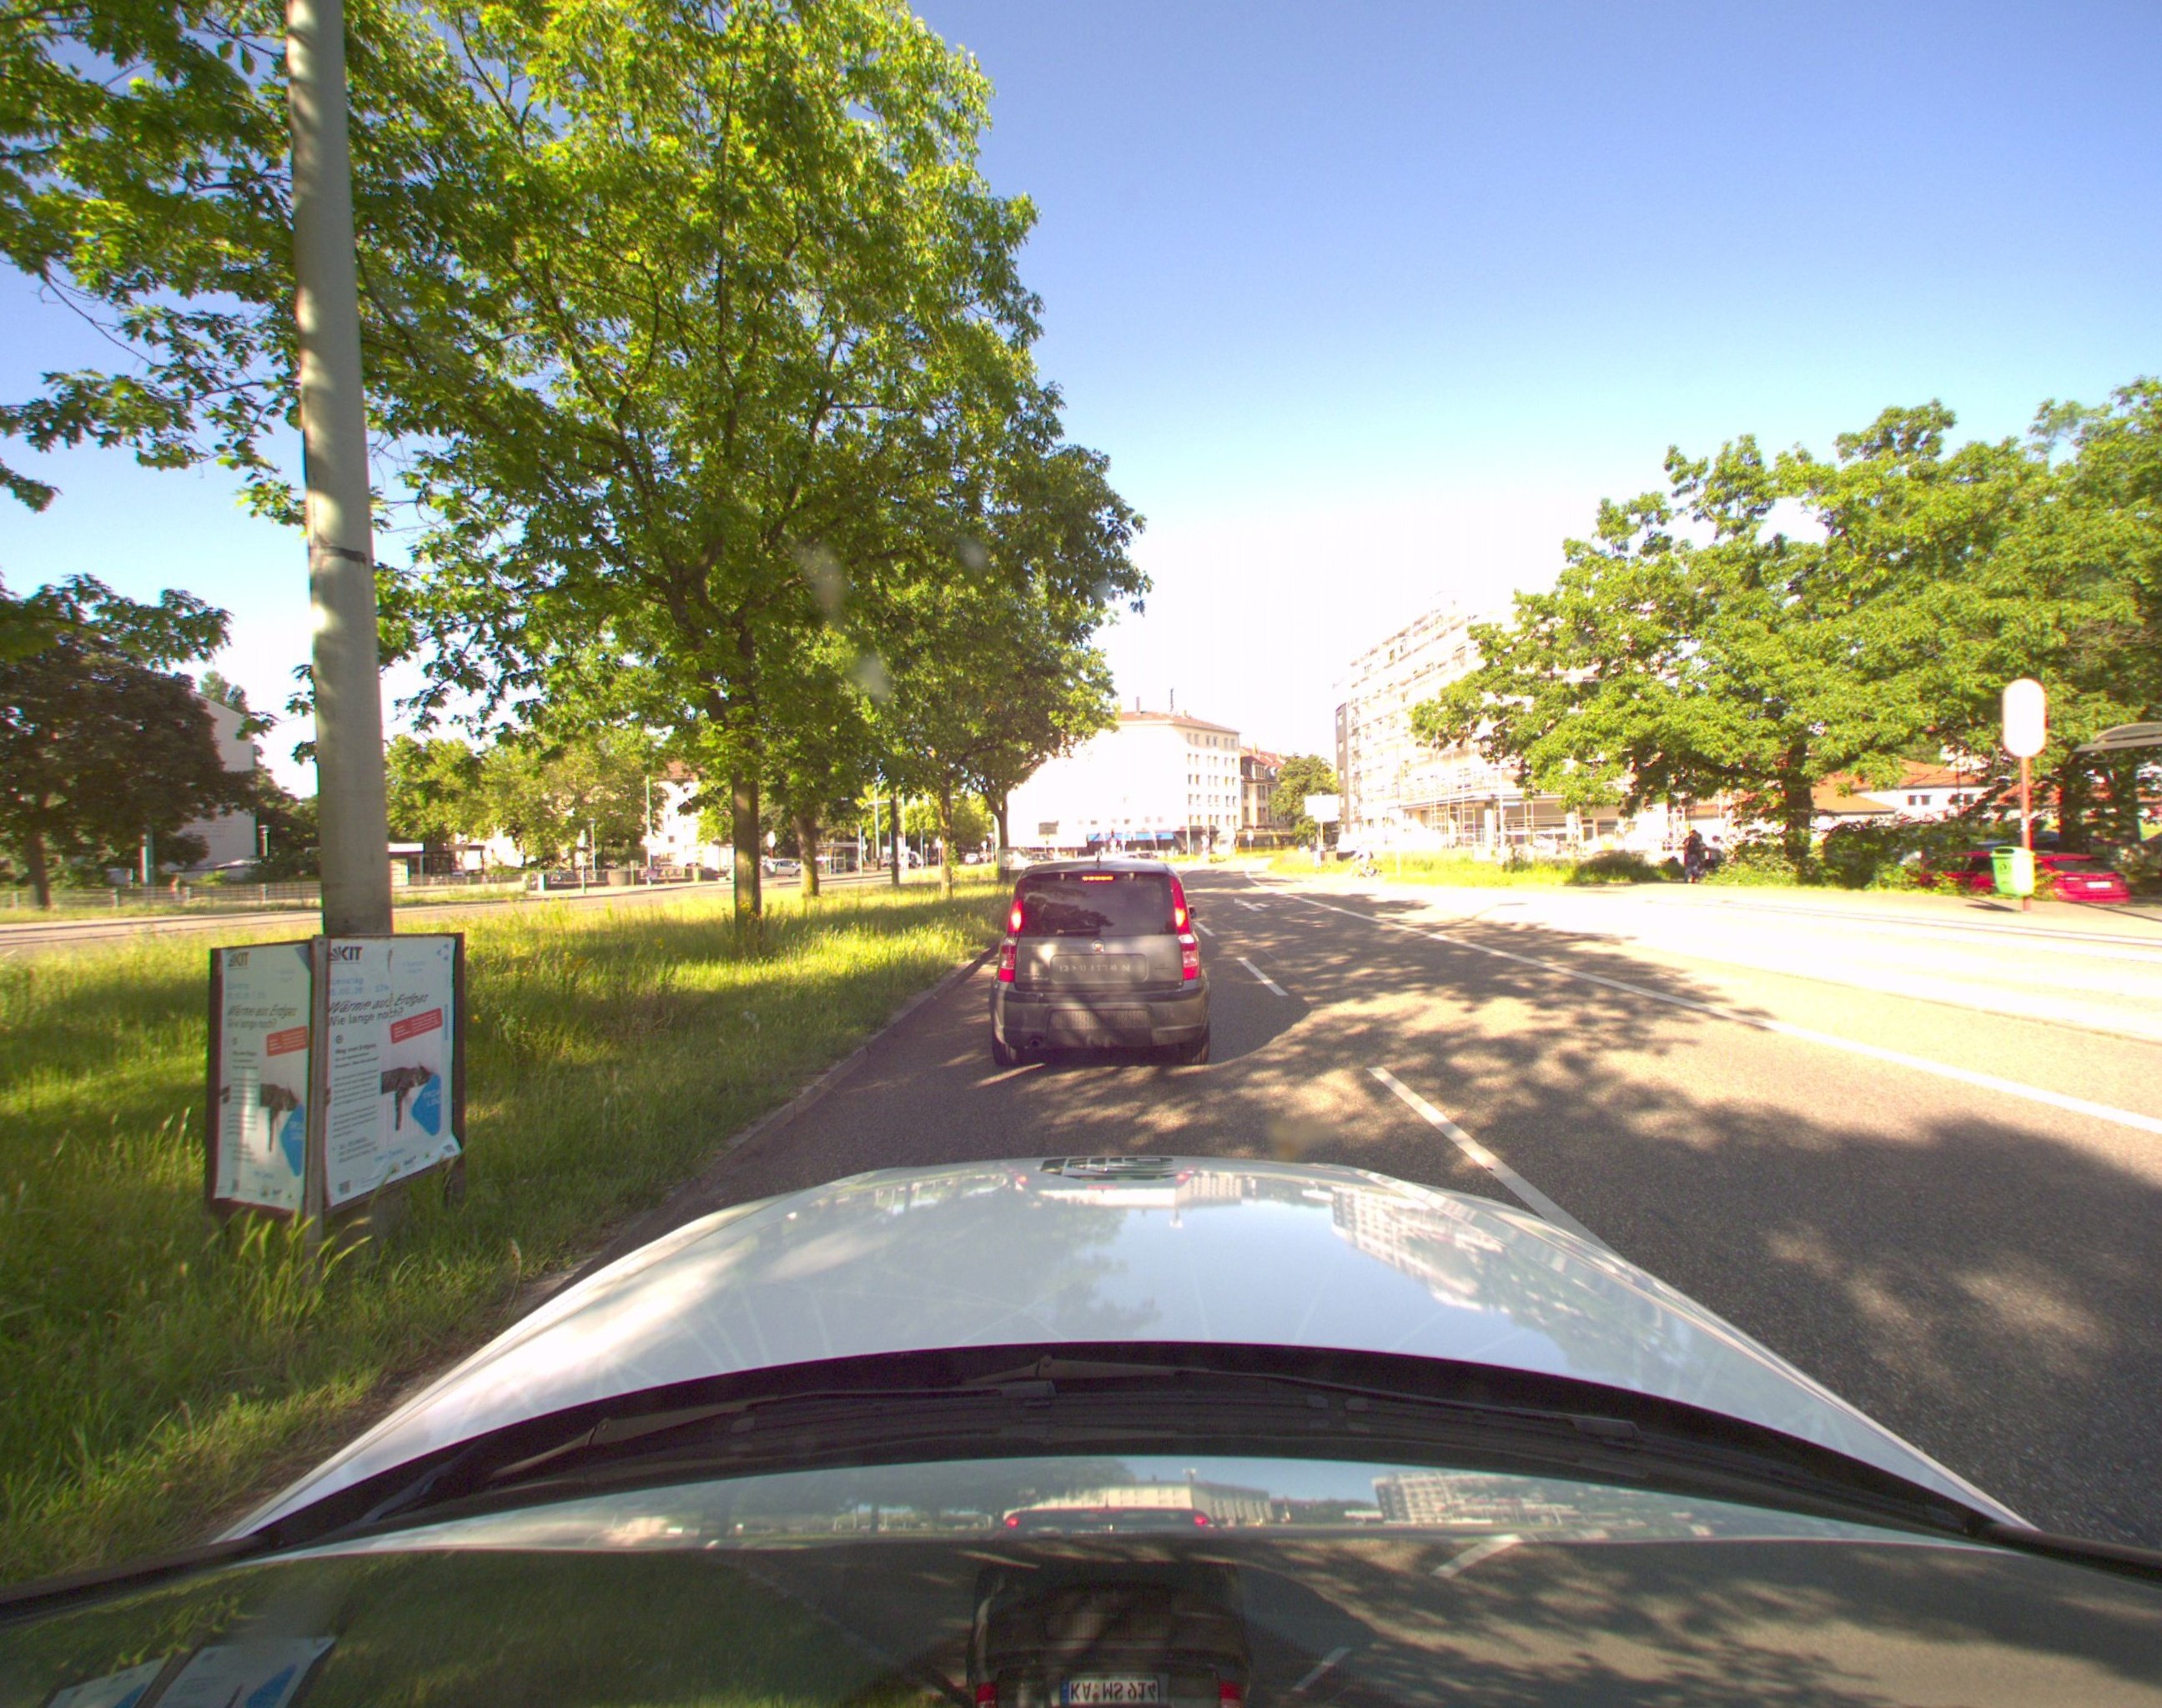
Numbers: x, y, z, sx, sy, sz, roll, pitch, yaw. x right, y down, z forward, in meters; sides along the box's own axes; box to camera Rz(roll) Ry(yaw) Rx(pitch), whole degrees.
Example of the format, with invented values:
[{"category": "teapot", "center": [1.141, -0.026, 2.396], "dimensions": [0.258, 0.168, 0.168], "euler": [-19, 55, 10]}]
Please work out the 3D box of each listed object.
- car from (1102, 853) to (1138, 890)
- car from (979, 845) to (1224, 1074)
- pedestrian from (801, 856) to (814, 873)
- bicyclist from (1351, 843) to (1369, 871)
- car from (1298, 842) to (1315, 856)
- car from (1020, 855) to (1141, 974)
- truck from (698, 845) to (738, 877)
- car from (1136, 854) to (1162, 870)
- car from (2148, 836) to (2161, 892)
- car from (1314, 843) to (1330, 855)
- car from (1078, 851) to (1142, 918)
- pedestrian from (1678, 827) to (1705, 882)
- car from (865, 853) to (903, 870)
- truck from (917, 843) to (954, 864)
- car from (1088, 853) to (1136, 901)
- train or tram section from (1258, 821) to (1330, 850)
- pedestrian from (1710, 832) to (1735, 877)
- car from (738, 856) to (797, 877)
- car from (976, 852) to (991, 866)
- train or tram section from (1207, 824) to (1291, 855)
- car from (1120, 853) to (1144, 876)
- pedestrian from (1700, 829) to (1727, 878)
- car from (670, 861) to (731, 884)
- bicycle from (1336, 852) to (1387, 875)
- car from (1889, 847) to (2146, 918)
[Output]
[{"category": "car", "center": [1.602, 0.693, 33.969], "dimensions": [1.351, 1.449, 3.267], "euler": [-2, 0, 2]}, {"category": "car", "center": [0.205, 0.704, 7.537], "dimensions": [1.622, 1.508, 4.002], "euler": [-2, 0, 2]}, {"category": "pedestrian", "center": [-26.308, 1.029, 78.458], "dimensions": [0.910, 1.607, 0.802], "euler": [-2, 0, 41]}, {"category": "bicyclist", "center": [14.523, 0.147, 42.343], "dimensions": [0.835, 1.438, 0.748], "euler": [-1, -1, 22]}, {"category": "car", "center": [24.916, -0.539, 89.999], "dimensions": [1.669, 1.449, 3.588], "euler": [-2, 0, 18]}, {"category": "car", "center": [0.049, 0.749, 11.765], "dimensions": [1.458, 1.401, 3.395], "euler": [-2, 0, 2]}, {"category": "truck", "center": [-33.075, 0.633, 74.206], "dimensions": [2.012, 2.805, 3.951], "euler": [-2, 0, -44]}, {"category": "car", "center": [4.866, 0.575, 57.718], "dimensions": [1.133, 1.064, 2.735], "euler": [-2, 0, 19]}, {"category": "car", "center": [29.862, 0.234, 20.180], "dimensions": [1.911, 1.486, 3.725], "euler": [-2, 0, -17]}, {"category": "car", "center": [27.627, -0.590, 93.428], "dimensions": [1.514, 1.314, 3.304], "euler": [-2, 0, 20]}, {"category": "car", "center": [0.725, 0.699, 20.796], "dimensions": [1.458, 1.508, 3.506], "euler": [-2, 0, 2]}, {"category": "pedestrian", "center": [18.511, 0.014, 24.695], "dimensions": [0.516, 1.612, 0.595], "euler": [-2, 0, 28]}, {"category": "car", "center": [-23.944, 0.892, 99.032], "dimensions": [4.164, 2.013, 1.931], "euler": [-2, 0, -1]}, {"category": "truck", "center": [-23.006, -0.142, 128.573], "dimensions": [5.425, 3.168, 2.358], "euler": [-2, 0, 30]}, {"category": "car", "center": [1.028, 0.728, 27.362], "dimensions": [1.458, 1.424, 3.383], "euler": [-2, 1, 2]}, {"category": "train or tram section", "center": [31.182, -2.691, 117.902], "dimensions": [3.263, 3.770, 20.943], "euler": [-2, 0, 34]}, {"category": "pedestrian", "center": [20.898, 0.014, 26.550], "dimensions": [0.516, 1.447, 0.595], "euler": [-2, 0, 28]}, {"category": "car", "center": [-27.318, 1.070, 71.070], "dimensions": [1.974, 1.684, 4.348], "euler": [-2, 0, 40]}, {"category": "car", "center": [-14.840, 0.731, 124.162], "dimensions": [1.988, 2.013, 3.997], "euler": [-2, 0, -2]}, {"category": "train or tram section", "center": [21.881, -1.895, 104.232], "dimensions": [3.263, 3.512, 19.509], "euler": [-2, 0, 34]}, {"category": "car", "center": [3.096, 0.621, 49.680], "dimensions": [1.351, 1.281, 2.877], "euler": [-2, 0, 2]}, {"category": "pedestrian", "center": [19.170, -0.013, 24.701], "dimensions": [0.516, 1.447, 0.595], "euler": [-2, 0, 28]}, {"category": "car", "center": [-31.194, 1.504, 66.834], "dimensions": [1.974, 1.684, 4.025], "euler": [-2, 0, 40]}, {"category": "bicycle", "center": [14.576, 0.487, 42.319], "dimensions": [2.490, 1.198, 0.714], "euler": [-1, -1, 21]}, {"category": "car", "center": [21.987, 0.598, 19.377], "dimensions": [1.747, 1.486, 3.743], "euler": [-2, 0, -2]}]
